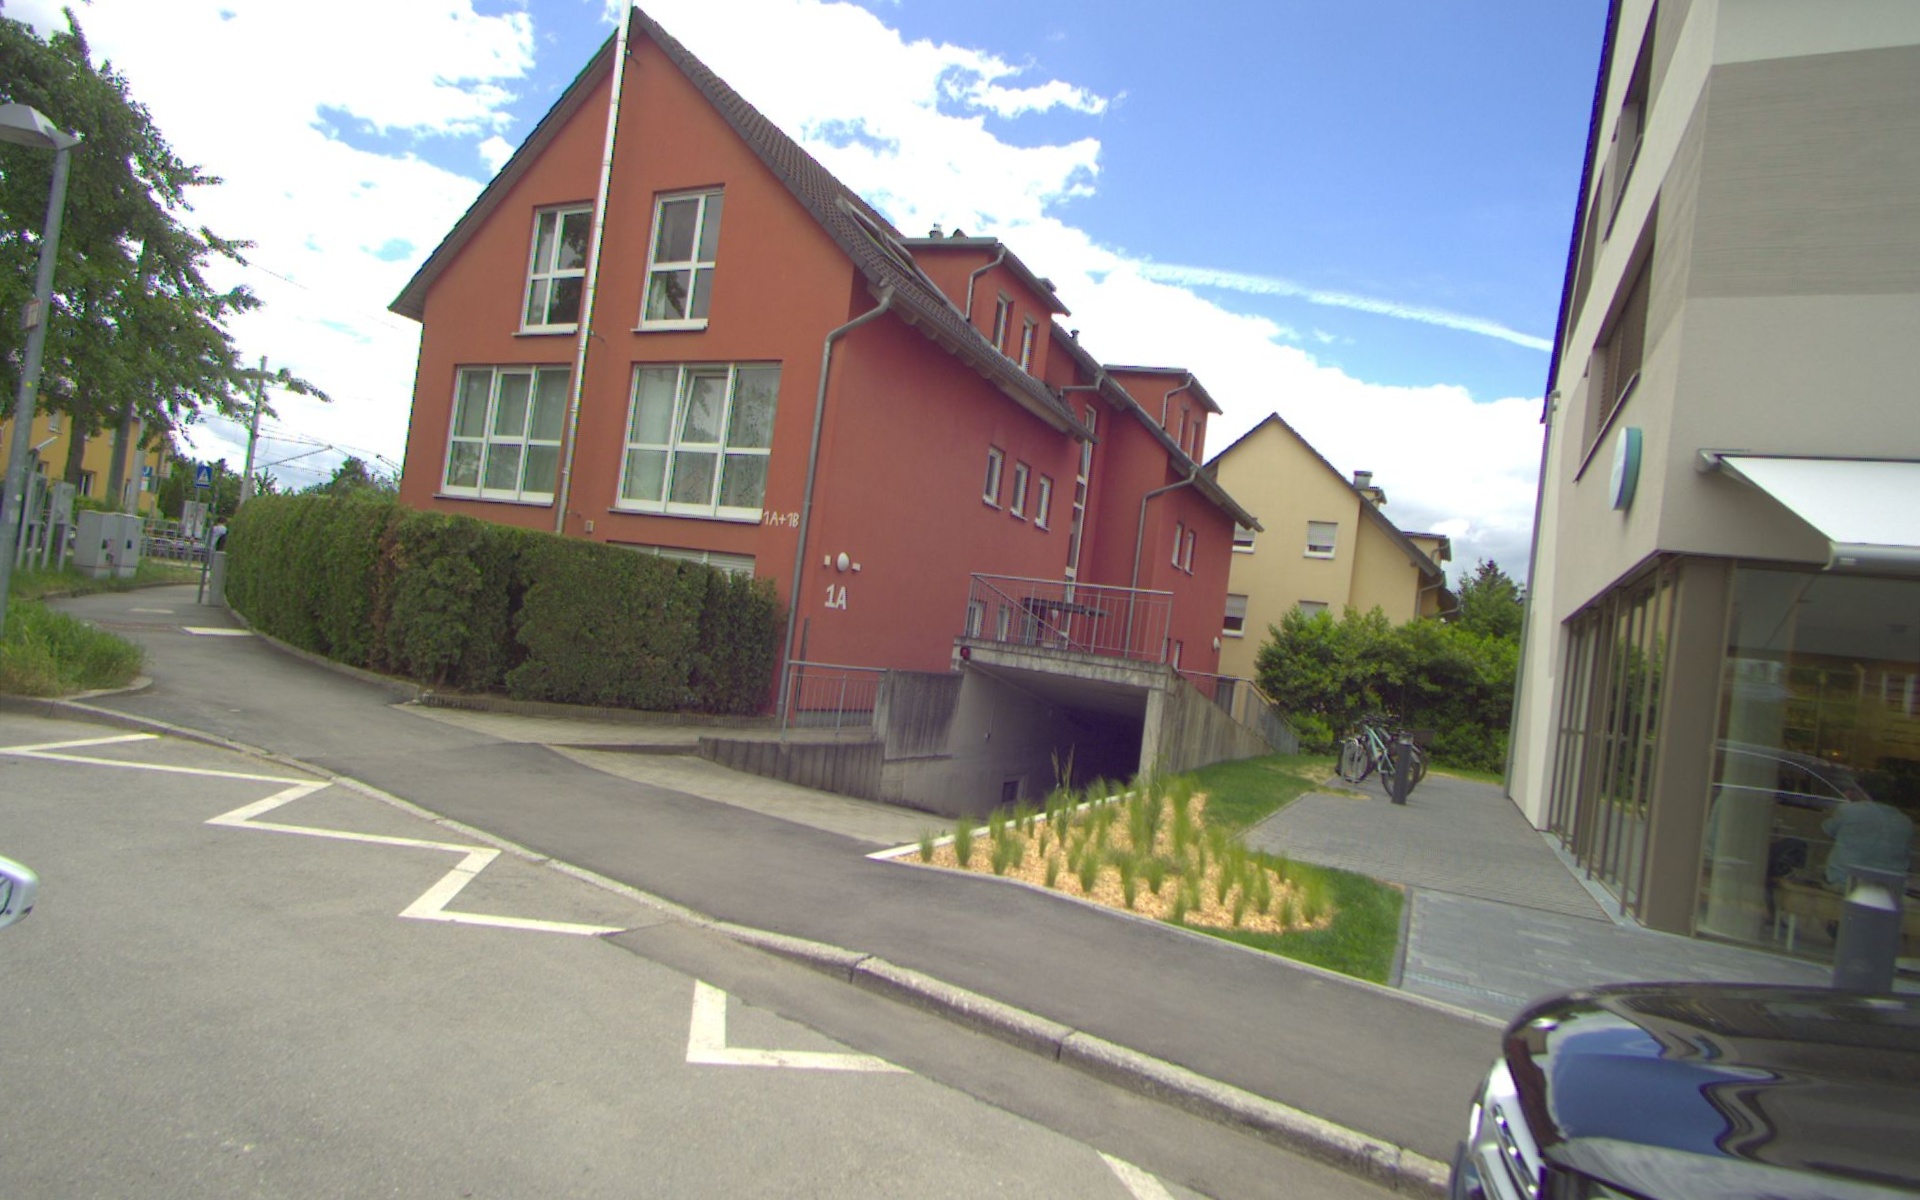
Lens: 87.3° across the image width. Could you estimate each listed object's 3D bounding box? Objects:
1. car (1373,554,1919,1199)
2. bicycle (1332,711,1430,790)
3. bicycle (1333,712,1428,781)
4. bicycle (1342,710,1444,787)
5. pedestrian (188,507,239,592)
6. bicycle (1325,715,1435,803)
[{"bbox_3d":[2.862,1.101,1.022,4.389,1.654,1.853,7,-3,29],"label":"car"},{"bbox_3d":[7.283,2.587,17.502,0.454,1.096,1.778,7,-2,-17],"label":"bicycle"},{"bbox_3d":[8.305,2.879,19.962,0.454,1.064,1.928,7,-2,-19],"label":"bicycle"},{"bbox_3d":[8.014,2.739,18.709,0.454,1.119,1.928,7,-2,-19],"label":"bicycle"},{"bbox_3d":[-17.927,-1.192,24.170,0.617,1.937,0.826,7,0,-23],"label":"pedestrian"},{"bbox_3d":[6.481,2.434,15.632,0.454,1.064,1.778,7,-2,-17],"label":"bicycle"}]
